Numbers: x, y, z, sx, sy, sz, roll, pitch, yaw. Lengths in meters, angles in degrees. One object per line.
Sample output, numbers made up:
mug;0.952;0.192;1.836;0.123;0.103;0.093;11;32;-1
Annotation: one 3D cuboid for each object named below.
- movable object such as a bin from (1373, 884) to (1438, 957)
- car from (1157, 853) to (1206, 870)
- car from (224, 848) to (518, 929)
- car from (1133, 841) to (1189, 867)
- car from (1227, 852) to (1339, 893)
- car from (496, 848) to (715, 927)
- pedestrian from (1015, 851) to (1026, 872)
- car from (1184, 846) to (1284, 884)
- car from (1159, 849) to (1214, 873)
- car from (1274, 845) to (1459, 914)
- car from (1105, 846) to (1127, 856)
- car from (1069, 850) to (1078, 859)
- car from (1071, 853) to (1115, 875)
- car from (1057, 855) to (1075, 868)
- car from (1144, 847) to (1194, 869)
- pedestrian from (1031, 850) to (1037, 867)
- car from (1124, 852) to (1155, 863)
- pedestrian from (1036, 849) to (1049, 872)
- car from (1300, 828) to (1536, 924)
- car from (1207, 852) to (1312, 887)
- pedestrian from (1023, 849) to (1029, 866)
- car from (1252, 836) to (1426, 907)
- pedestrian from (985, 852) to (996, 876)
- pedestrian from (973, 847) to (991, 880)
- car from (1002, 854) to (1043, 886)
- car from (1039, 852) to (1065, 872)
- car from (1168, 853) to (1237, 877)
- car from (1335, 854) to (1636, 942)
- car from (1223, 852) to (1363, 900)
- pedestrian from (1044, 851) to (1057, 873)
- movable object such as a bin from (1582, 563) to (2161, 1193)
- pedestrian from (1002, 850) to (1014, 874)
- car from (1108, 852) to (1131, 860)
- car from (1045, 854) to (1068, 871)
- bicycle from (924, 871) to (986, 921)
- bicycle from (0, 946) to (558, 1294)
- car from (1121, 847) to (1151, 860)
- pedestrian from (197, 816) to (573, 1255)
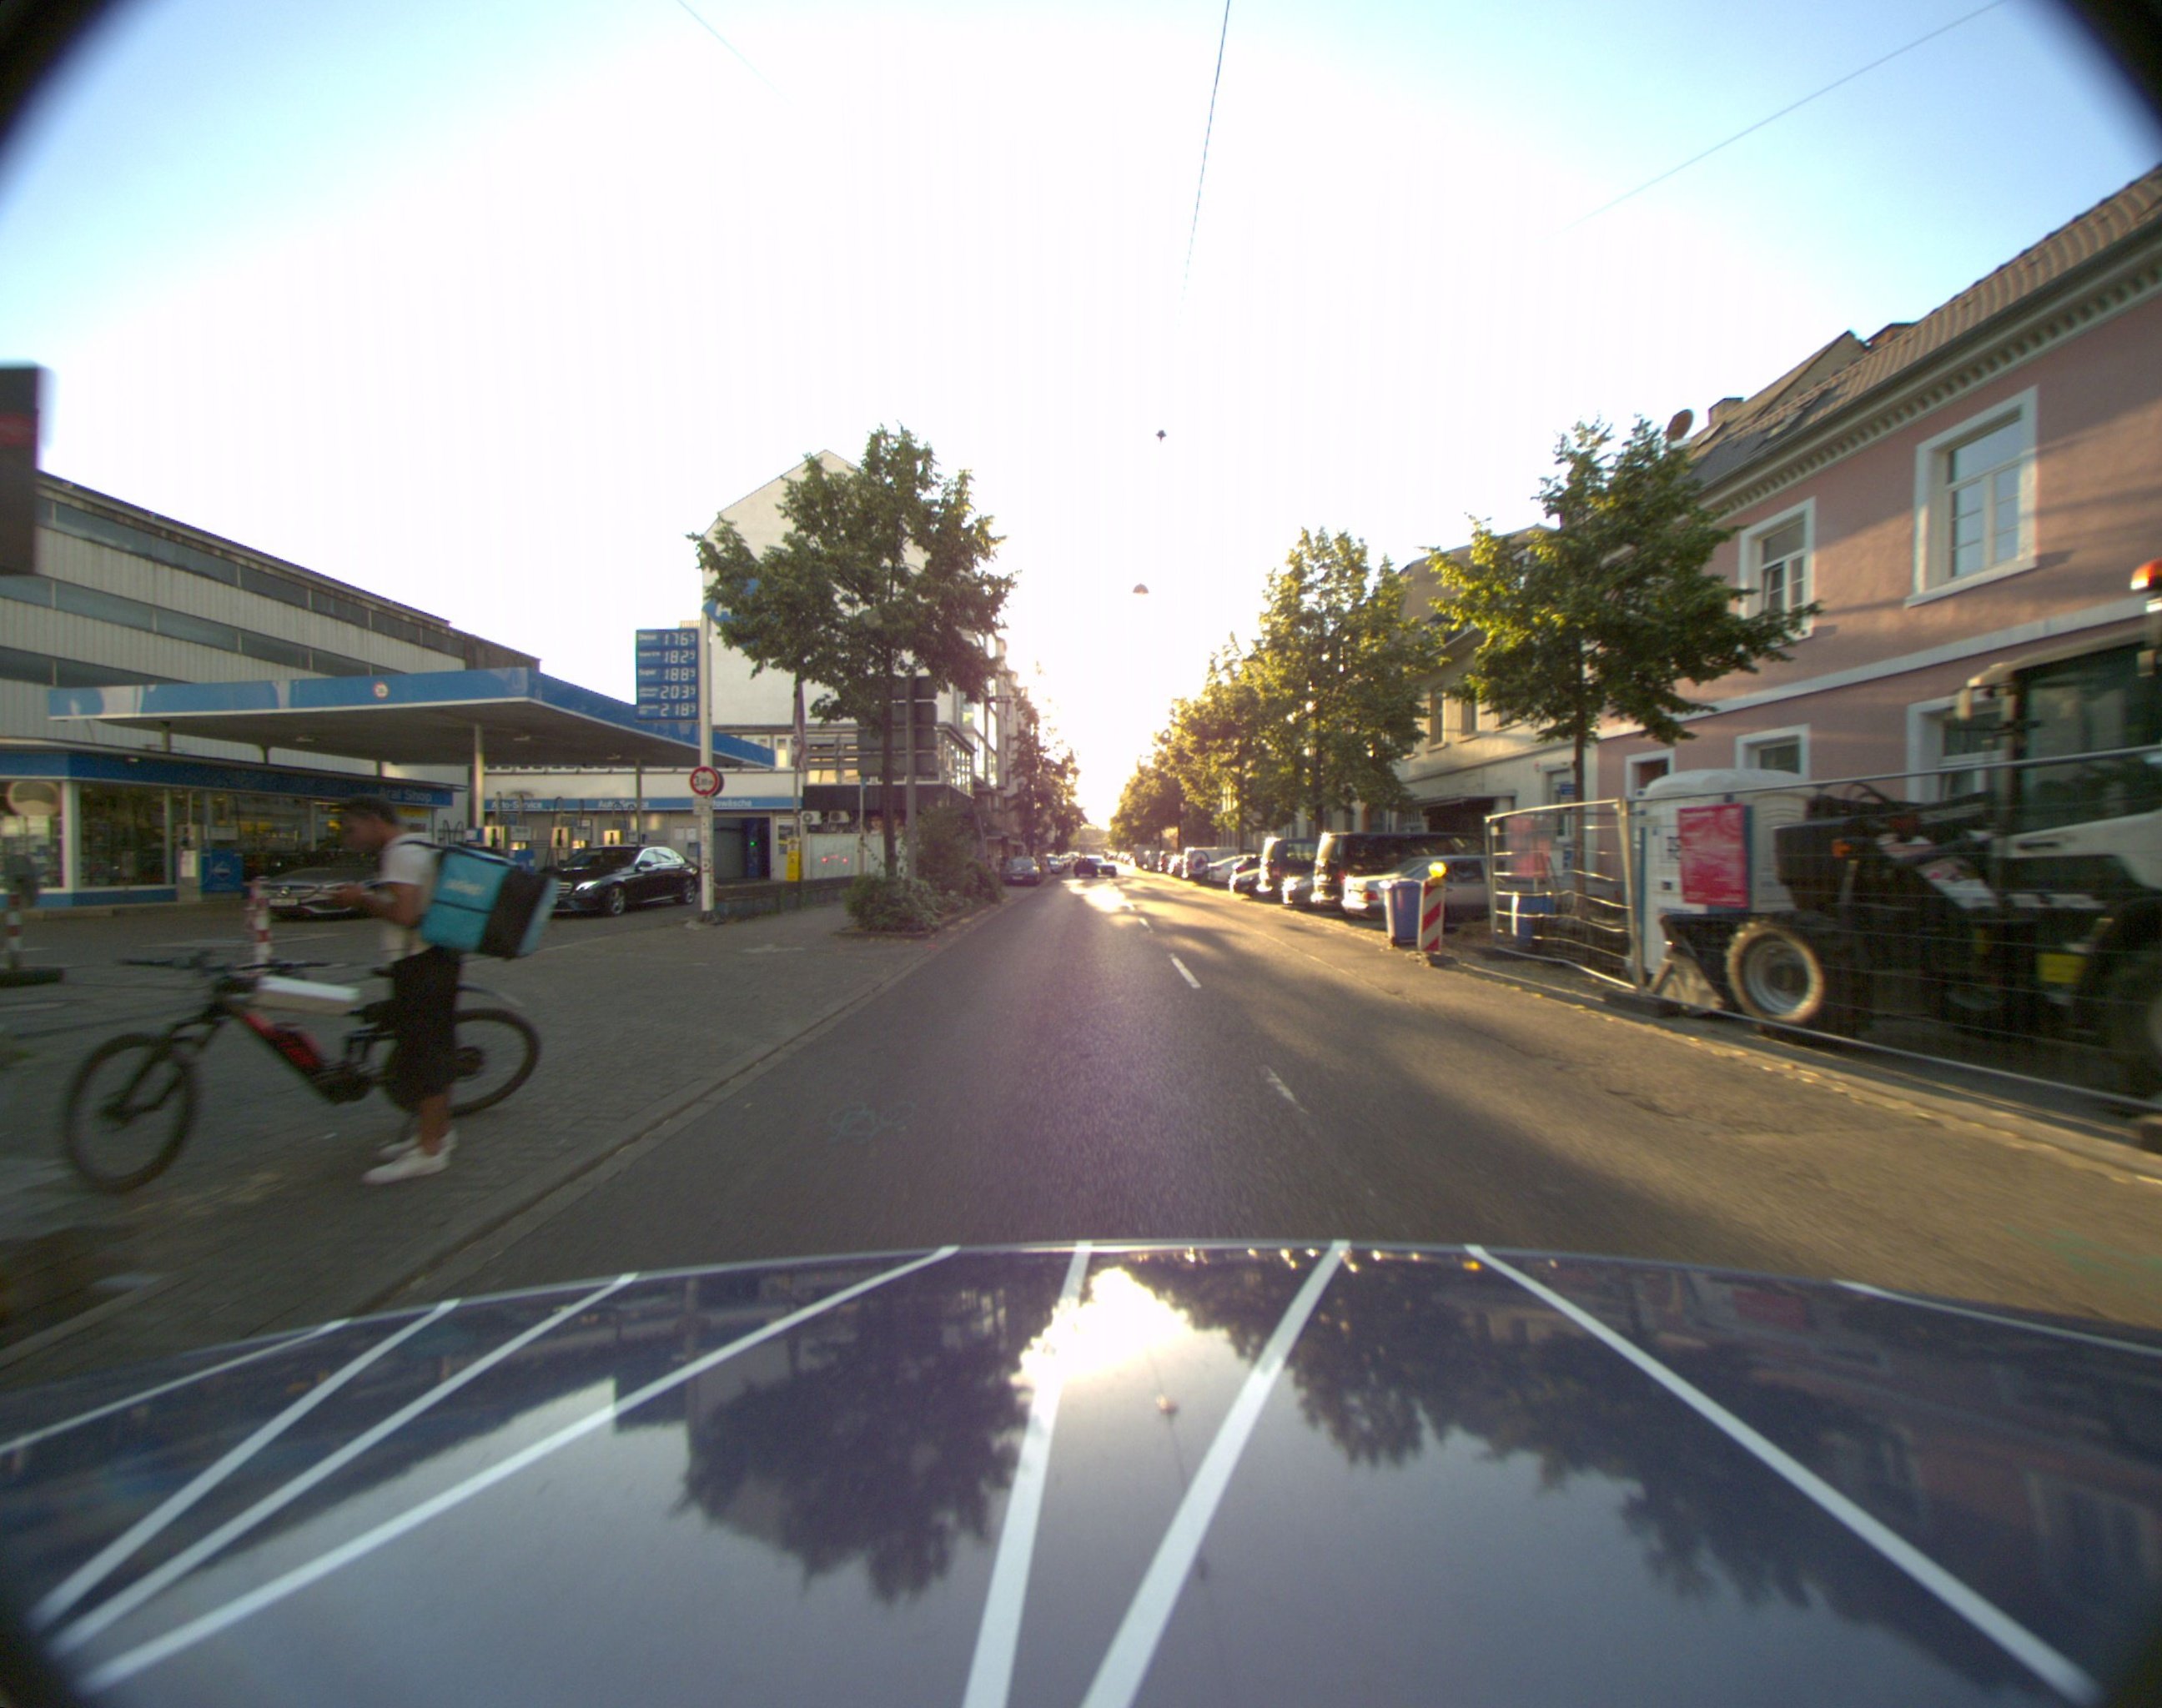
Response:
movable object such as a bin;5.223;1.055;12.265;0.691;1.098;0.883;0;1;2
car;8.865;0.670;67.494;4.162;1.431;1.594;-1;0;2
car;-14.605;0.602;16.123;1.714;1.394;4.758;1;1;0
car;8.474;0.014;80.875;5.672;2.606;2.171;-2;0;1
car;7.878;0.719;29.897;3.932;1.492;1.905;-1;0;3
car;-10.228;0.614;16.906;1.739;1.422;4.907;1;1;0
pedestrian;-4.769;0.559;60.076;0.829;1.629;0.827;0;1;1
car;7.993;0.554;40.055;4.882;1.897;1.974;0;0;1
car;8.271;0.533;59.852;4.148;1.796;1.807;0;0;2
car;7.409;0.654;20.023;4.140;1.627;1.860;-2;0;1
car;8.132;-0.734;177.303;4.782;2.344;2.153;-1;0;-27
car;-1.755;0.158;176.724;1.867;1.900;4.256;3;0;3
car;0.783;0.690;53.314;1.687;1.453;4.064;-1;0;-20
car;-1.788;0.838;90.989;1.778;1.431;5.000;2;0;3
car;8.108;0.357;70.259;4.510;1.942;1.919;-1;0;3
pedestrian;-5.236;0.505;84.770;0.627;1.857;0.976;2;1;0
car;8.636;0.526;112.357;4.393;1.414;1.822;-2;0;0
pedestrian;-2.981;0.517;58.938;0.924;1.749;0.762;1;1;1
car;7.579;0.471;17.388;4.495;1.964;1.965;-2;0;-1
car;8.209;0.692;35.250;4.488;1.476;1.734;-1;0;3
pedestrian;-6.145;0.404;84.816;0.590;1.799;0.835;2;1;0
car;7.590;0.505;22.693;4.494;1.964;2.068;-1;0;1
pedestrian;-5.925;0.639;49.702;0.612;1.516;0.773;1;1;1
pedestrian;-5.376;0.524;41.310;0.858;1.784;0.997;1;1;0
car;-2.940;0.764;39.018;1.833;1.479;4.848;2;0;-1
car;-2.425;0.654;64.360;1.884;1.565;4.692;2;0;1
car;7.604;0.669;47.977;4.047;1.475;1.963;0;0;0
car;7.383;0.779;14.256;4.604;1.461;1.893;-1;0;3
car;7.422;0.743;26.843;4.338;1.492;1.841;-2;0;-4
pedestrian;-2.413;0.614;60.230;0.924;1.685;0.762;0;1;1
movable object such as a bin;6.391;0.099;5.073;2.631;2.952;5.303;-1;0;0
pedestrian;-5.125;0.545;53.253;0.790;1.694;0.700;1;1;1
car;8.142;0.377;160.359;4.579;1.548;1.809;-1;0;-37
car;-2.216;0.750;70.470;1.846;1.472;5.189;2;0;0
bicycle;-3.026;0.993;18.396;0.482;1.136;1.684;3;1;31
bicycle;-3.847;1.106;3.724;0.864;1.092;1.931;2;0;40
car;8.680;-0.071;120.202;4.718;1.800;2.053;-2;0;2
pedestrian;-3.179;0.765;3.593;1.017;1.815;0.779;2;1;-9
